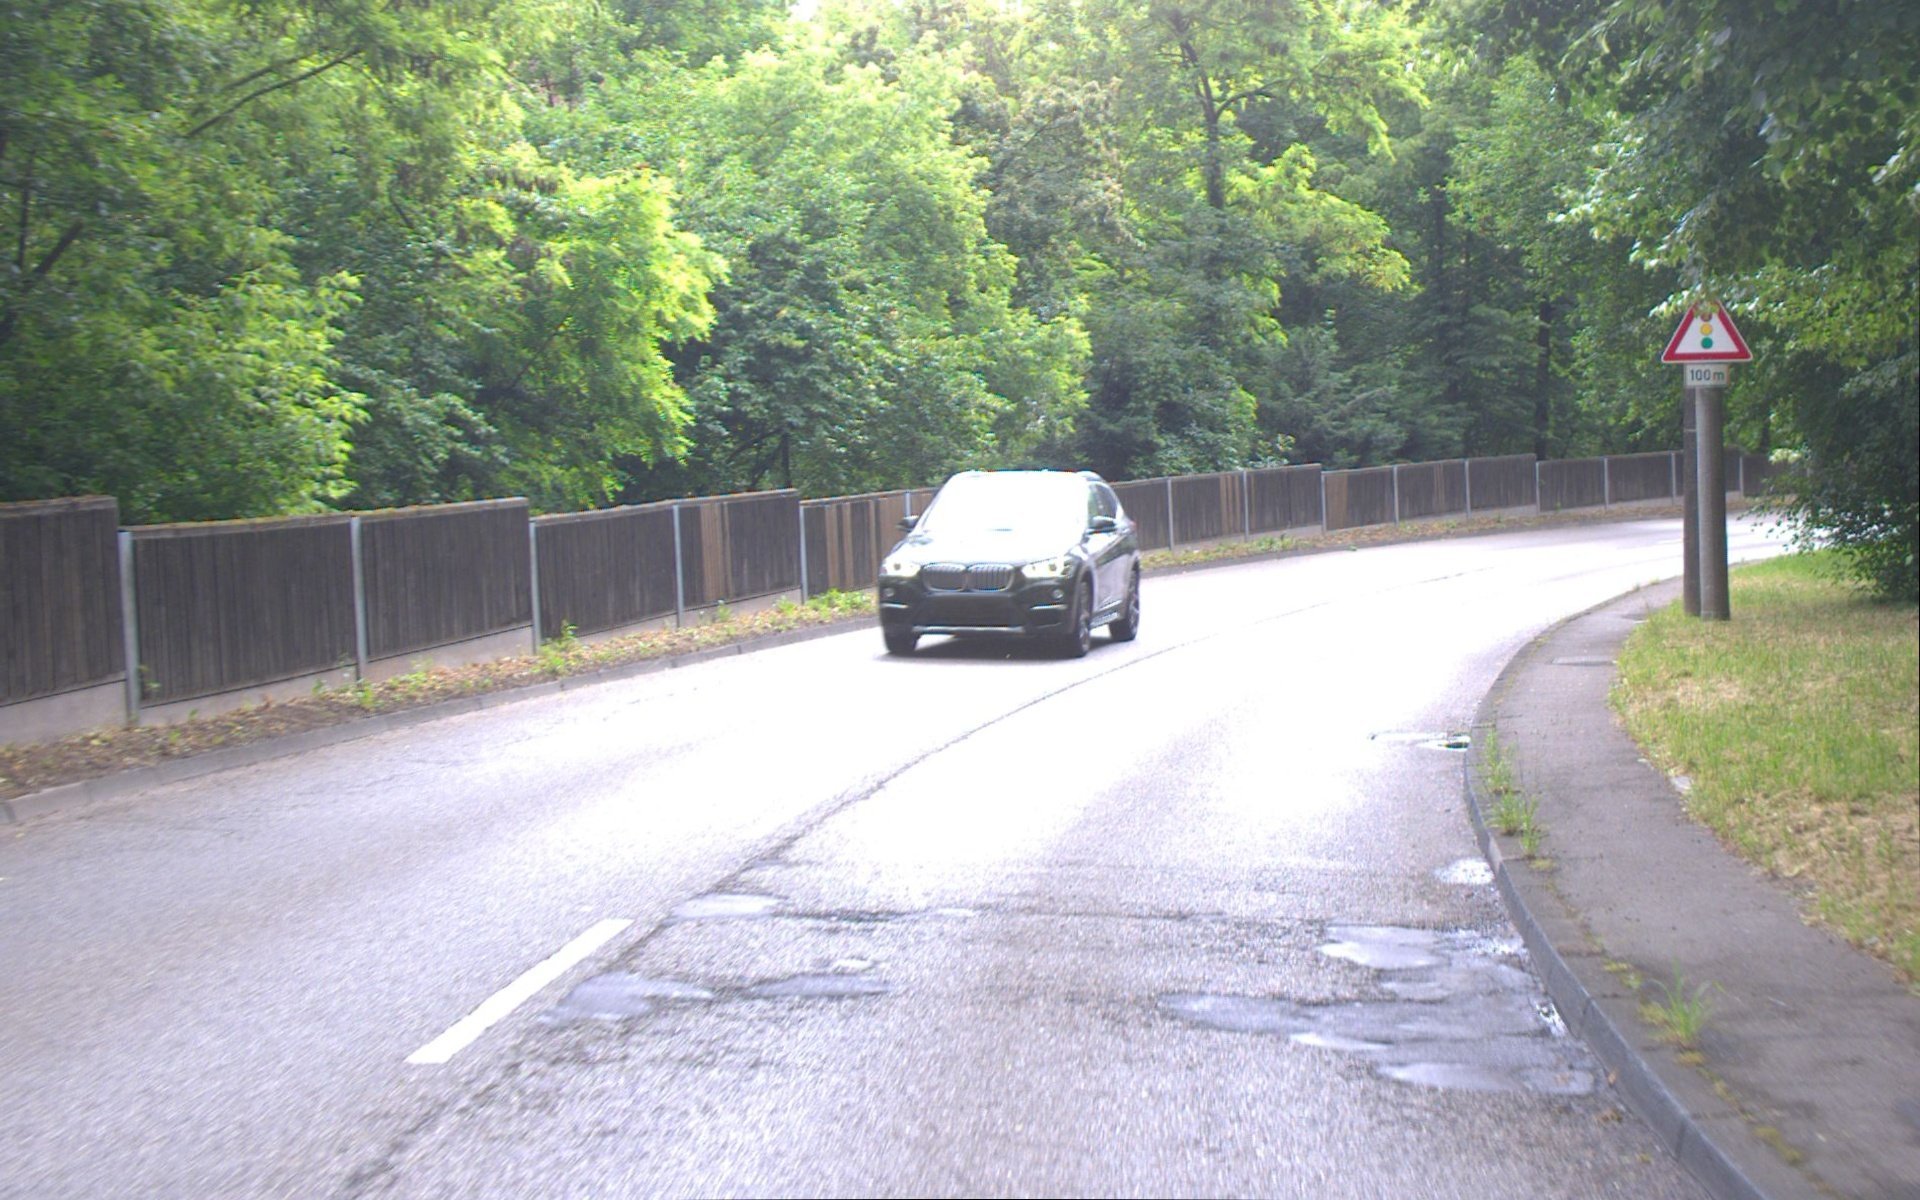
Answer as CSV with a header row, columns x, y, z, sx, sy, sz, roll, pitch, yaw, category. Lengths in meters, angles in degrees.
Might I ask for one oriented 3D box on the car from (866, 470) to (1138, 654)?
x,y,z,sx,sy,sz,roll,pitch,yaw,category
0.460,-0.407,31.509,1.846,1.559,4.232,1,2,10,car
